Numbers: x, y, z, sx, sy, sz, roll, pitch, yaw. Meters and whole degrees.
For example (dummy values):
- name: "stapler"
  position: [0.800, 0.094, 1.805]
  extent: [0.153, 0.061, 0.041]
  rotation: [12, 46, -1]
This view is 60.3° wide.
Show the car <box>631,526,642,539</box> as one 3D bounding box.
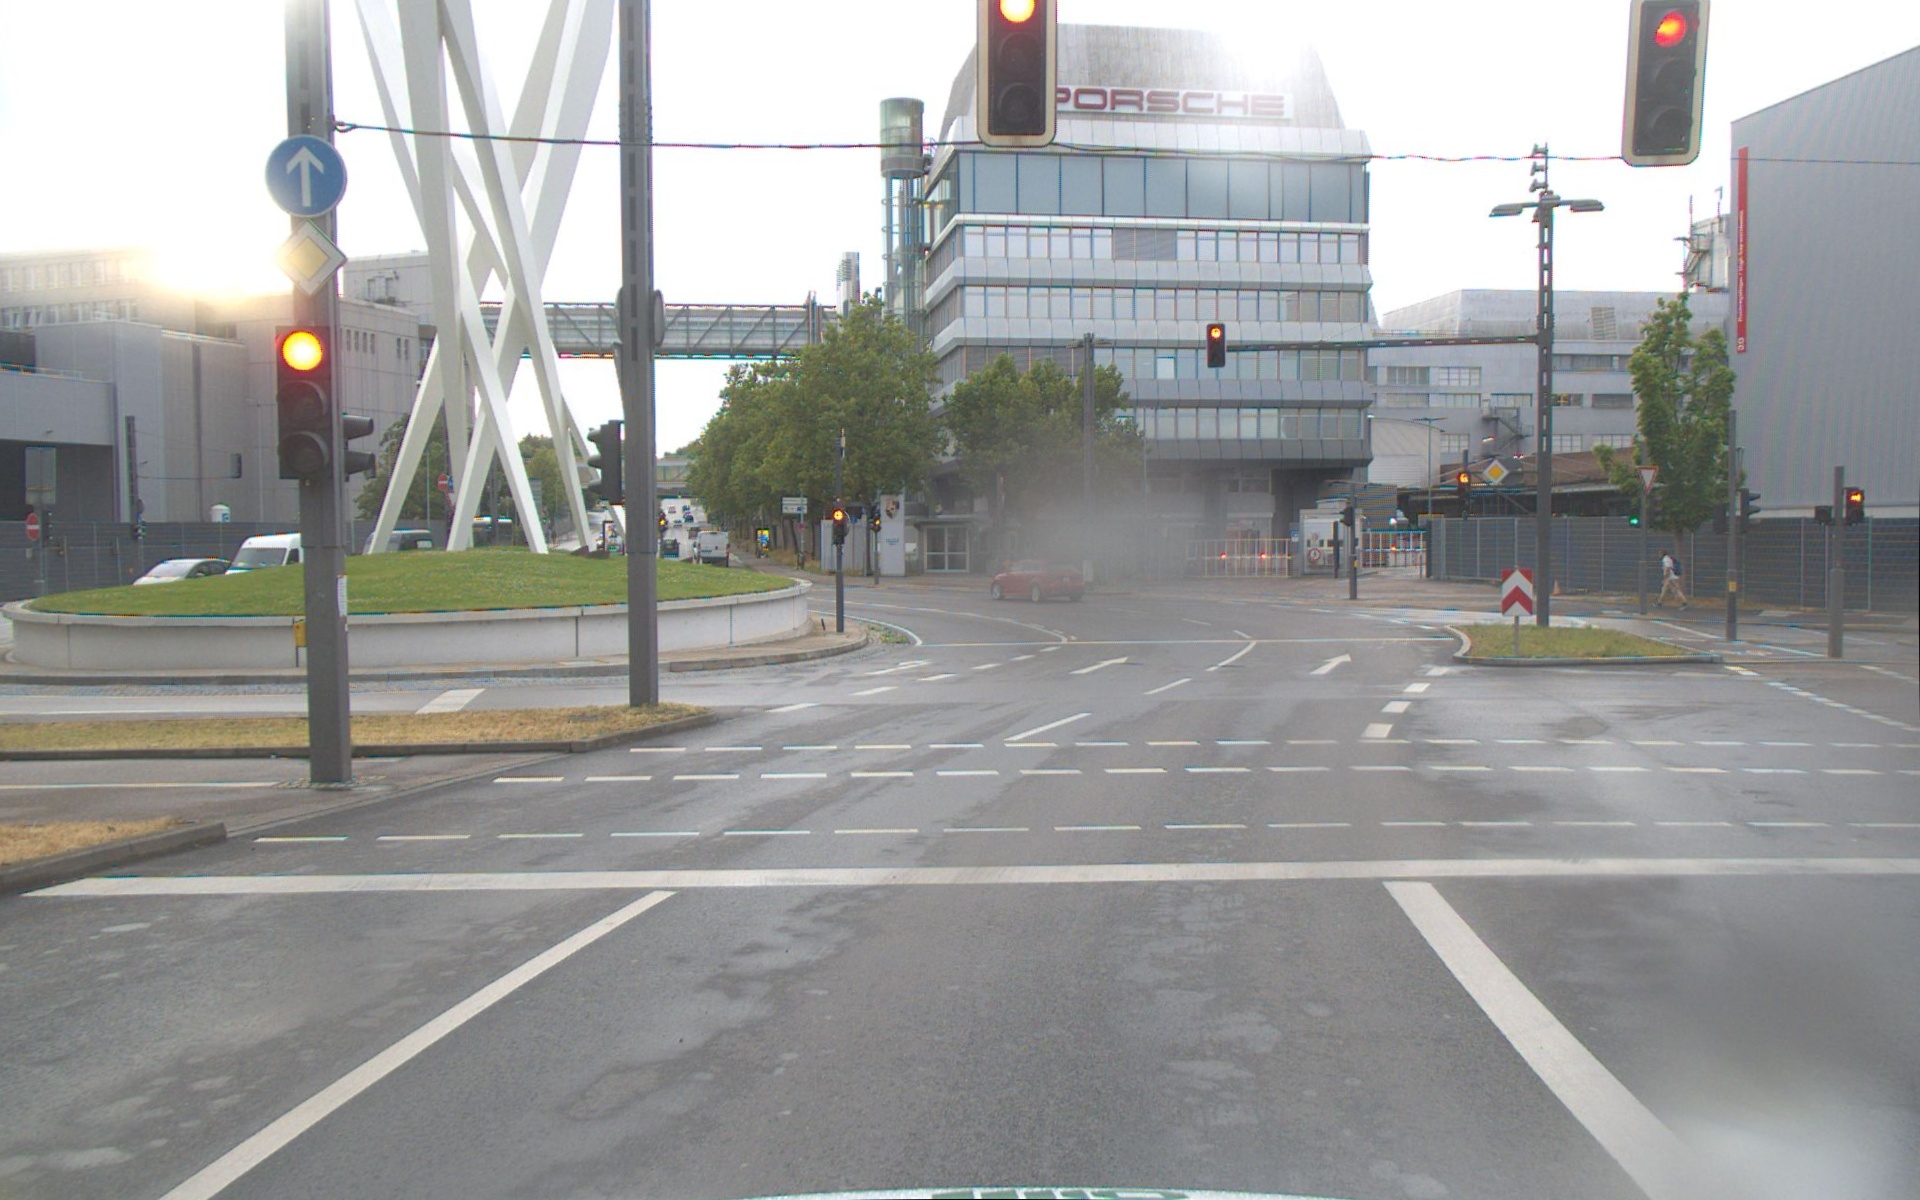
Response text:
- name: "car"
  position: [-47.363, -9.888, 242.181]
  extent: [1.598, 1.848, 3.723]
  rotation: [0, 1, -11]

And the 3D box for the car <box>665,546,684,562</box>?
- name: "car"
  position: [-24.022, -3.863, 139.090]
  extent: [1.529, 1.311, 3.404]
  rotation: [0, 0, -11]

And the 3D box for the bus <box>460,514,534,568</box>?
- name: "bus"
  position: [-29.857, -3.703, 107.186]
  extent: [2.618, 3.256, 12.652]
  rotation: [0, 1, -6]

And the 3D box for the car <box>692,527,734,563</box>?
- name: "car"
  position: [-16.087, -3.532, 107.431]
  extent: [2.195, 2.144, 4.935]
  rotation: [0, 0, -14]

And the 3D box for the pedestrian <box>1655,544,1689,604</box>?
- name: "pedestrian"
  position: [19.924, -0.719, 46.299]
  extent: [0.791, 1.639, 0.769]
  rotation: [-1, -1, 20]

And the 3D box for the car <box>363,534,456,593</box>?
- name: "car"
  position: [-27.828, -1.820, 83.952]
  extent: [1.925, 2.869, 7.132]
  rotation: [0, 1, 4]

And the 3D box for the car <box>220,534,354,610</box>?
- name: "car"
  position: [-23.139, -0.964, 57.129]
  extent: [1.951, 2.490, 5.431]
  rotation: [-1, 1, 6]

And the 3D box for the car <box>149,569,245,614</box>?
- name: "car"
  position: [-26.991, -0.306, 58.639]
  extent: [1.797, 1.520, 3.997]
  rotation: [0, 1, -4]

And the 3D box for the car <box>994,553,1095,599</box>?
- name: "car"
  position: [2.834, -0.785, 56.124]
  extent: [1.753, 1.490, 3.696]
  rotation: [0, 0, -29]
